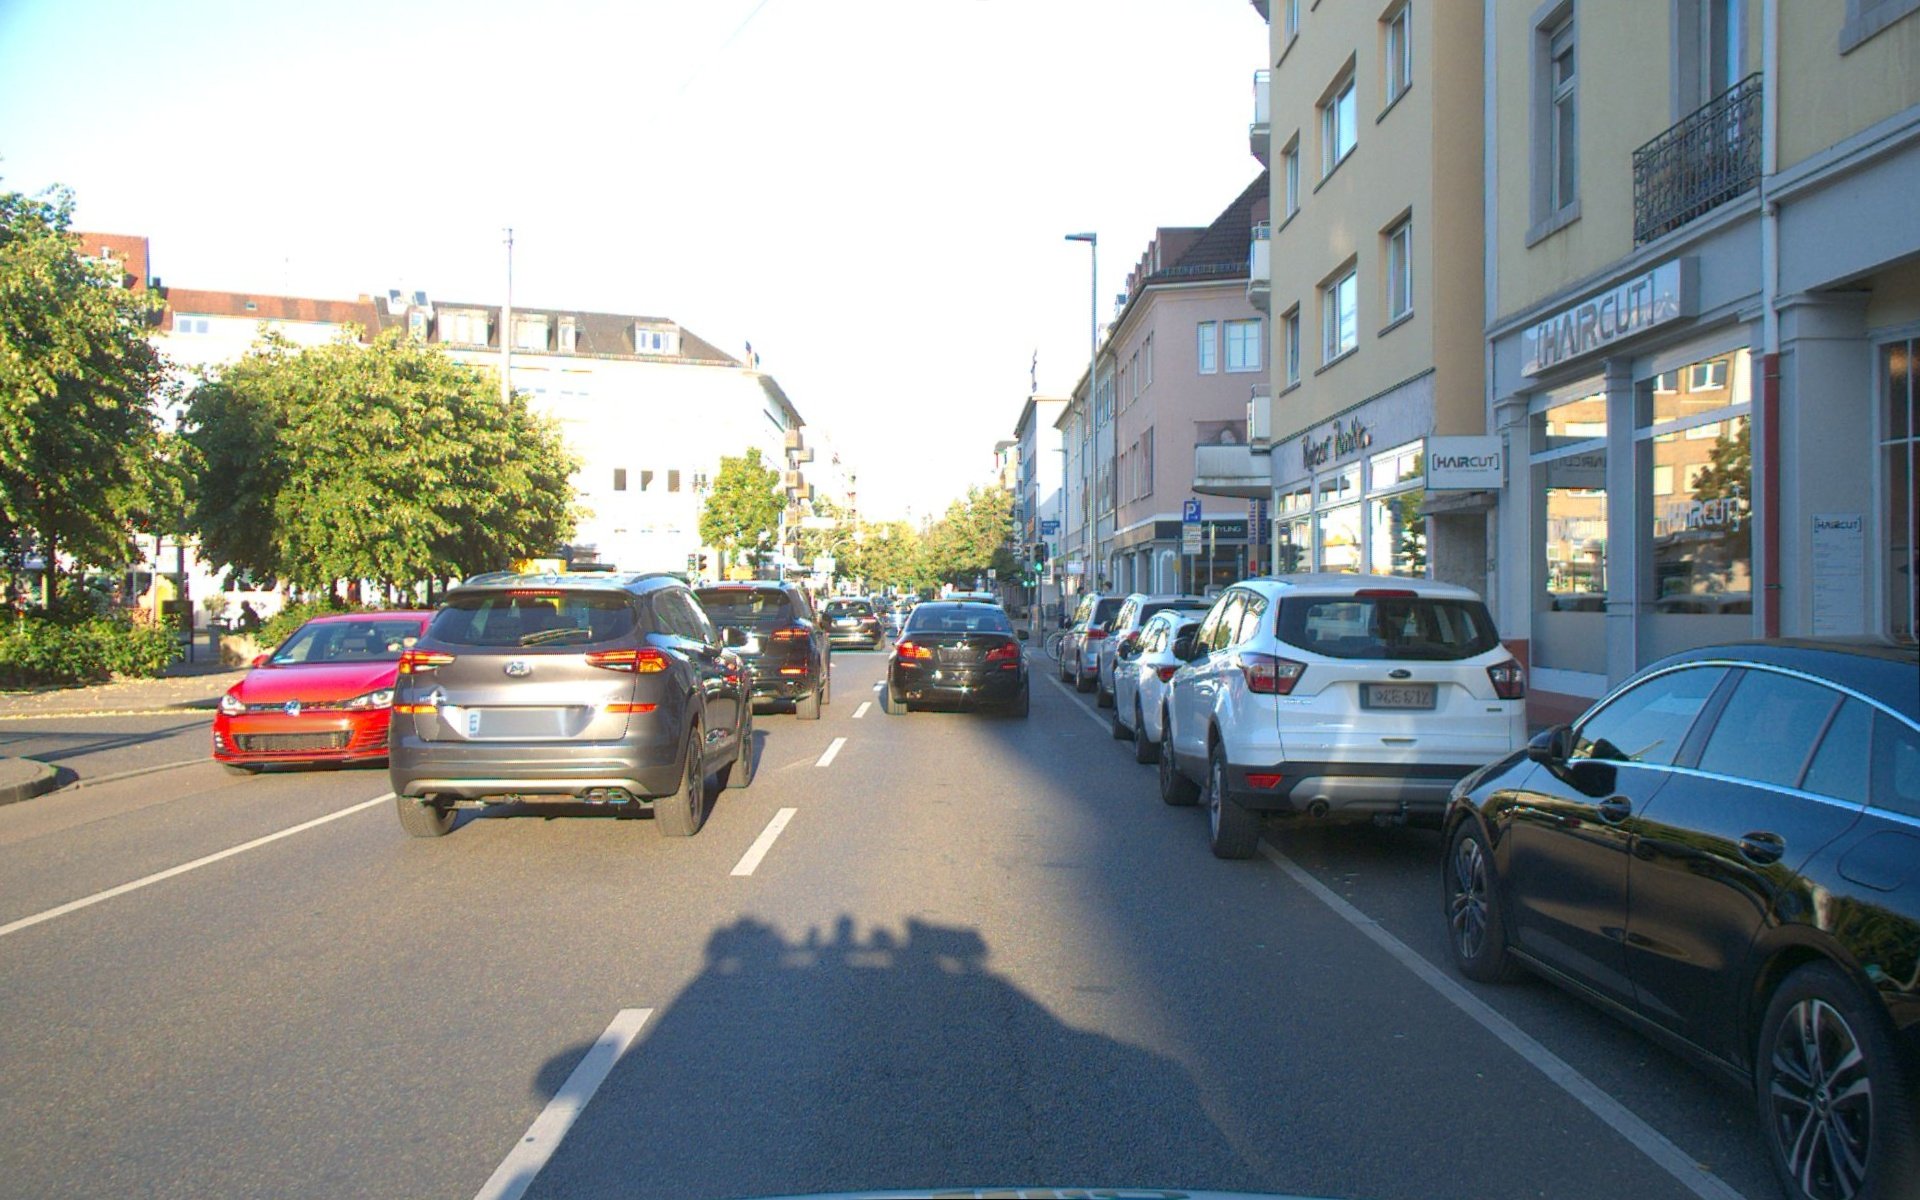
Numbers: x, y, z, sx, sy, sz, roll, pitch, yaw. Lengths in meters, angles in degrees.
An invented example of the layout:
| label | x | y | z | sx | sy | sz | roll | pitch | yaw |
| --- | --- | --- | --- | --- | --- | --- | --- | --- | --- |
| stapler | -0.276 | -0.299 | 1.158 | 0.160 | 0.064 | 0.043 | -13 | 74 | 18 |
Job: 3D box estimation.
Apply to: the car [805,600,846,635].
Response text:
| label | x | y | z | sx | sy | sz | roll | pitch | yaw |
| --- | --- | --- | --- | --- | --- | --- | --- | --- | --- |
| car | -6.394 | 0.823 | 79.030 | 1.657 | 1.579 | 3.950 | -2 | 0 | -1 |

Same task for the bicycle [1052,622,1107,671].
| label | x | y | z | sx | sy | sz | roll | pitch | yaw |
| --- | --- | --- | --- | --- | --- | --- | --- | --- | --- |
| bicycle | 2.571 | 0.992 | 35.638 | 0.482 | 0.984 | 1.760 | 0 | 0 | -21 |

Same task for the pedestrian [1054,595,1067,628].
| label | x | y | z | sx | sy | sz | roll | pitch | yaw |
| --- | --- | --- | --- | --- | --- | --- | --- | --- | --- |
| pedestrian | 4.793 | 0.543 | 78.773 | 0.619 | 1.561 | 0.702 | 0 | 0 | 2 |

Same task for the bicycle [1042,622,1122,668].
| label | x | y | z | sx | sy | sz | roll | pitch | yaw |
| --- | --- | --- | --- | --- | --- | --- | --- | --- | --- |
| bicycle | 2.730 | 1.009 | 36.978 | 1.730 | 0.984 | 0.490 | 0 | 0 | 24 |

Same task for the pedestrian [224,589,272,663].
| label | x | y | z | sx | sy | sz | roll | pitch | yaw |
| --- | --- | --- | --- | --- | --- | --- | --- | --- | --- |
| pedestrian | -15.817 | 0.580 | 36.743 | 0.774 | 1.623 | 0.568 | 0 | 0 | 19 |

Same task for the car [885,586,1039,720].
| label | x | y | z | sx | sy | sz | roll | pitch | yaw |
| --- | --- | --- | --- | --- | --- | --- | --- | --- | --- |
| car | -0.012 | 0.659 | 22.380 | 1.858 | 1.609 | 3.999 | 1 | 0 | -1 |

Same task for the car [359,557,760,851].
| label | x | y | z | sx | sy | sz | roll | pitch | yaw |
| --- | --- | --- | --- | --- | --- | --- | --- | --- | --- |
| car | -2.535 | 0.601 | 11.519 | 1.858 | 1.678 | 4.103 | 0 | 0 | -1 |

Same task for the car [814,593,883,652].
| label | x | y | z | sx | sy | sz | roll | pitch | yaw |
| --- | --- | --- | --- | --- | --- | --- | --- | --- | --- |
| car | -3.059 | 0.600 | 46.066 | 1.743 | 1.574 | 3.999 | 0 | 0 | -2 |

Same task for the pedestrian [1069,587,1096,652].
| label | x | y | z | sx | sy | sz | roll | pitch | yaw |
| --- | --- | --- | --- | --- | --- | --- | --- | --- | --- |
| pedestrian | 3.545 | 0.563 | 48.015 | 0.685 | 1.843 | 0.634 | 0 | 0 | -4 |

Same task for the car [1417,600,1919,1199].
| label | x | y | z | sx | sy | sz | roll | pitch | yaw |
| --- | --- | --- | --- | --- | --- | --- | --- | --- | --- |
| car | 2.915 | 0.777 | 5.168 | 1.694 | 1.474 | 4.473 | 2 | -1 | 0 |

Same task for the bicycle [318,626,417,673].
| label | x | y | z | sx | sy | sz | roll | pitch | yaw |
| --- | --- | --- | --- | --- | --- | --- | --- | --- | --- |
| bicycle | -12.009 | 0.999 | 33.537 | 1.789 | 0.868 | 0.483 | 3 | 0 | -5 |

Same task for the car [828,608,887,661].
| label | x | y | z | sx | sy | sz | roll | pitch | yaw |
| --- | --- | --- | --- | --- | --- | --- | --- | --- | --- |
| car | -3.230 | 1.069 | 52.696 | 1.743 | 1.574 | 3.999 | 0 | 0 | -2 |

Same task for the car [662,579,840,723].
| label | x | y | z | sx | sy | sz | roll | pitch | yaw |
| --- | --- | --- | --- | --- | --- | --- | --- | --- | --- |
| car | -2.582 | 0.599 | 21.336 | 1.858 | 1.678 | 4.103 | 0 | 0 | -1 |

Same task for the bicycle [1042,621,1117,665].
| label | x | y | z | sx | sy | sz | roll | pitch | yaw |
| --- | --- | --- | --- | --- | --- | --- | --- | --- | --- |
| bicycle | 2.782 | 1.000 | 38.465 | 1.729 | 0.984 | 0.490 | 0 | 0 | 4 |

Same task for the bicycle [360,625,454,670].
| label | x | y | z | sx | sy | sz | roll | pitch | yaw |
| --- | --- | --- | --- | --- | --- | --- | --- | --- | --- |
| bicycle | -11.813 | 1.008 | 35.343 | 1.789 | 0.868 | 0.483 | 3 | 0 | -5 |

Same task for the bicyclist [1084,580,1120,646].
| label | x | y | z | sx | sy | sz | roll | pitch | yaw |
| --- | --- | --- | --- | --- | --- | --- | --- | --- | --- |
| bicyclist | 3.942 | 0.367 | 45.831 | 0.814 | 1.808 | 0.608 | 0 | 0 | 26 |

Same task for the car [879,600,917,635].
| label | x | y | z | sx | sy | sz | roll | pitch | yaw |
| --- | --- | --- | --- | --- | --- | --- | --- | --- | --- |
| car | -2.895 | 0.798 | 77.990 | 1.743 | 1.574 | 3.999 | 0 | 0 | -2 |

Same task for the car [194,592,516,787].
| label | x | y | z | sx | sy | sz | roll | pitch | yaw |
| --- | --- | --- | --- | --- | --- | --- | --- | --- | --- |
| car | -5.659 | 0.753 | 15.992 | 1.657 | 1.579 | 3.950 | -2 | 0 | -1 |

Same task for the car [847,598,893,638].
| label | x | y | z | sx | sy | sz | roll | pitch | yaw |
| --- | --- | --- | --- | --- | --- | --- | --- | --- | --- |
| car | -3.630 | 0.713 | 67.184 | 1.743 | 1.574 | 3.999 | 0 | 0 | -2 |

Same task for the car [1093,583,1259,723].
| label | x | y | z | sx | sy | sz | roll | pitch | yaw |
| --- | --- | --- | --- | --- | --- | --- | --- | --- | --- |
| car | 2.828 | 0.675 | 22.371 | 1.694 | 1.681 | 3.828 | 2 | -1 | 0 |

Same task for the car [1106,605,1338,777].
| label | x | y | z | sx | sy | sz | roll | pitch | yaw |
| --- | --- | --- | --- | --- | --- | --- | --- | --- | --- |
| car | 2.522 | 0.832 | 16.858 | 1.694 | 1.476 | 4.312 | 2 | -1 | 1 |

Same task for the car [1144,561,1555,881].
| label | x | y | z | sx | sy | sz | roll | pitch | yaw |
| --- | --- | --- | --- | --- | --- | --- | --- | --- | --- |
| car | 2.353 | 0.677 | 11.097 | 1.694 | 1.679 | 4.284 | 2 | -1 | 0 |

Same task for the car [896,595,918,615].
| label | x | y | z | sx | sy | sz | roll | pitch | yaw |
| --- | --- | --- | --- | --- | --- | --- | --- | --- | --- |
| car | -4.231 | 0.367 | 133.387 | 1.743 | 1.574 | 3.999 | 0 | 0 | -2 |

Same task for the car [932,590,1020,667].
| label | x | y | z | sx | sy | sz | roll | pitch | yaw |
| --- | --- | --- | --- | --- | --- | --- | --- | --- | --- |
| car | 0.304 | 0.619 | 37.817 | 1.858 | 1.609 | 3.999 | 1 | 0 | -1 |

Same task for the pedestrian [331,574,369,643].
| label | x | y | z | sx | sy | sz | roll | pitch | yaw |
| --- | --- | --- | --- | --- | --- | --- | --- | --- | --- |
| pedestrian | -14.375 | 0.197 | 38.981 | 0.668 | 1.623 | 0.487 | 0 | 0 | 19 |

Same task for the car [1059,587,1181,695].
| label | x | y | z | sx | sy | sz | roll | pitch | yaw |
| --- | --- | --- | --- | --- | --- | --- | --- | --- | --- |
| car | 2.694 | 0.676 | 28.590 | 1.694 | 1.681 | 3.970 | 2 | -1 | 0 |
